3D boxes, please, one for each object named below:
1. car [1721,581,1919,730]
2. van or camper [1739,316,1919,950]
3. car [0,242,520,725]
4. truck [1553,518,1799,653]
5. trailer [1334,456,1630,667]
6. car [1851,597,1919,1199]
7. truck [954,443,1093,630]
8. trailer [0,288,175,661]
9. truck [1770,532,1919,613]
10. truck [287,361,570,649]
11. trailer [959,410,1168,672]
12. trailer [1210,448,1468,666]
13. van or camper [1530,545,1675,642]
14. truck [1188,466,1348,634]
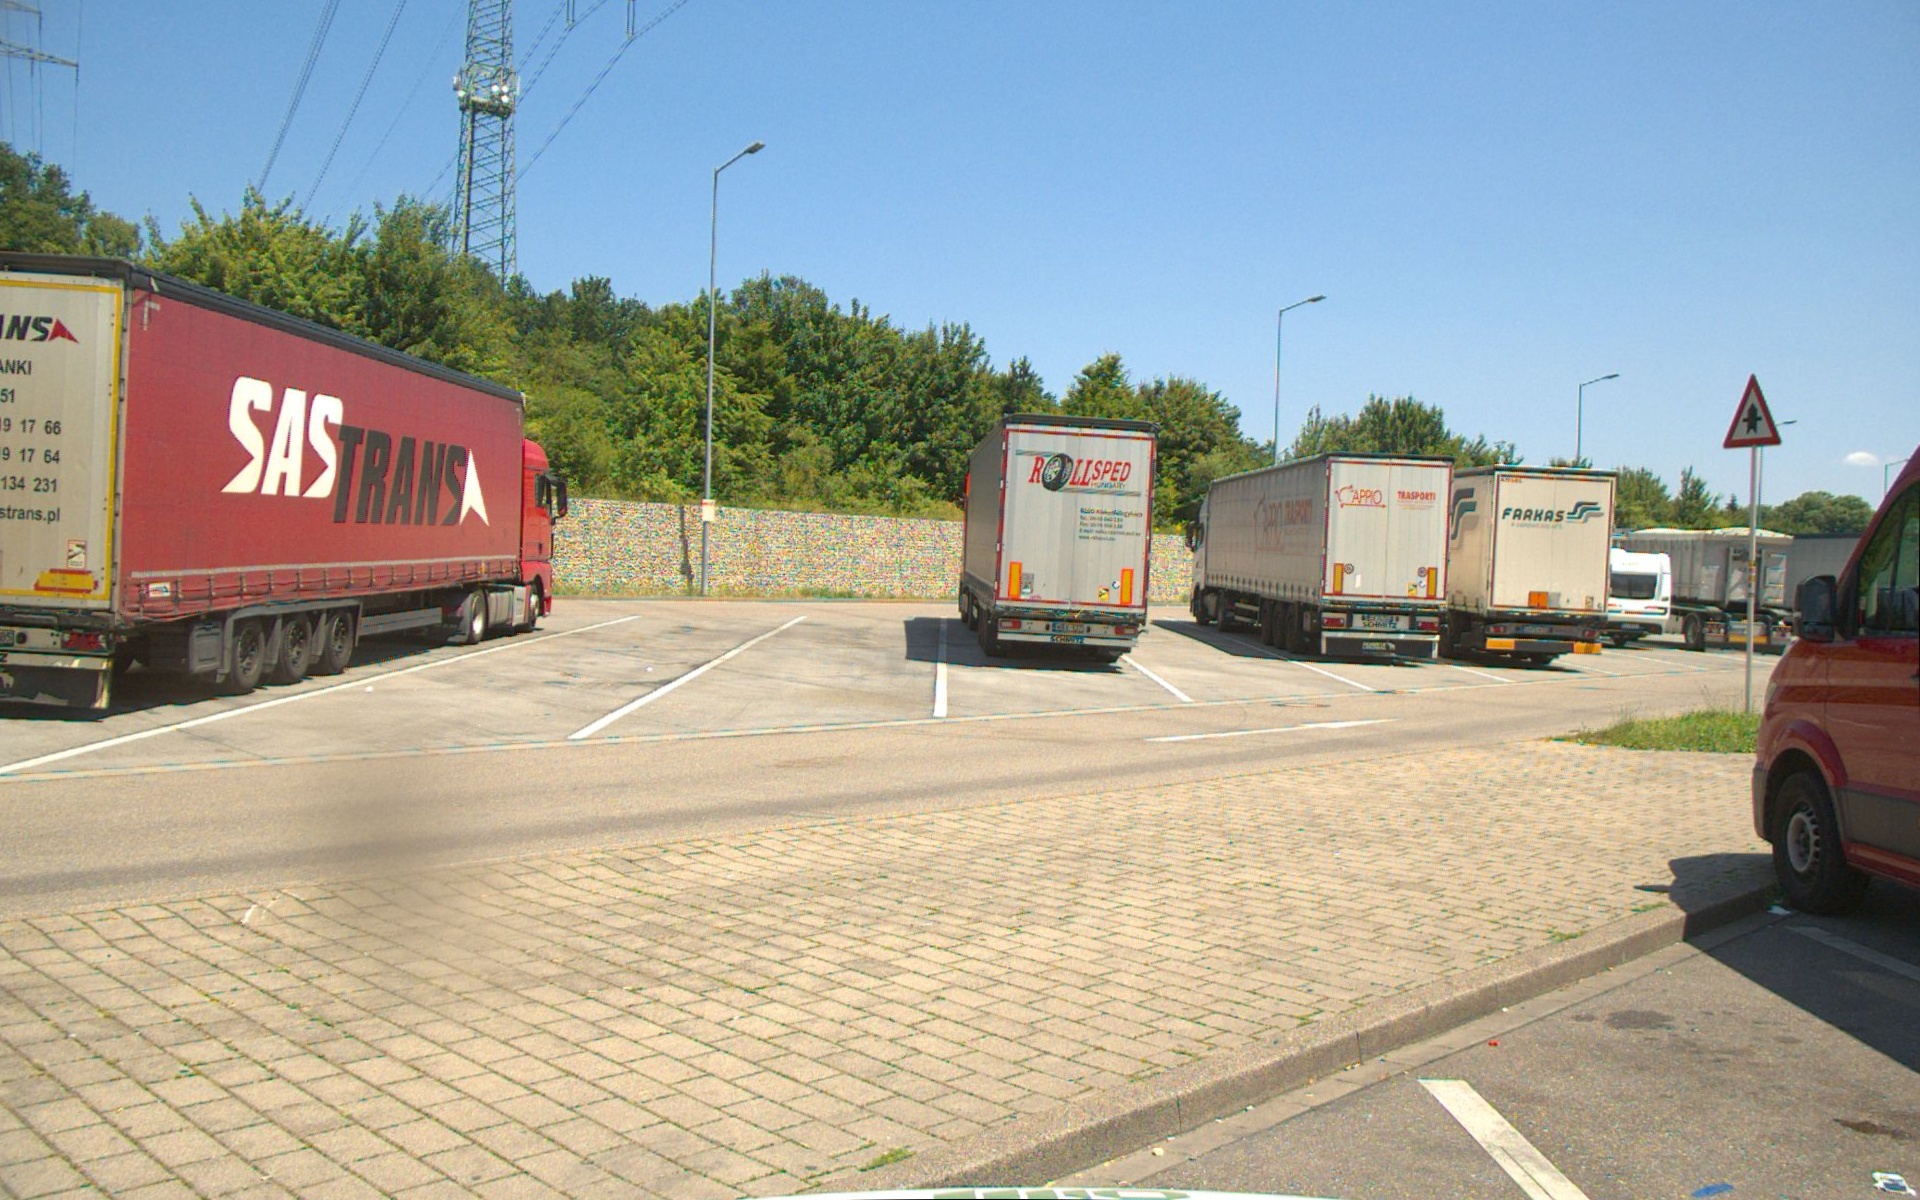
[{"bbox_3d":[11.117,0.593,20.065,1.805,1.589,3.948,1,1,-3],"label":"car"},{"bbox_3d":[4.991,0.176,5.555,1.954,2.700,6.482,1,1,3],"label":"van or camper"},{"bbox_3d":[-8.675,-1.282,20.956,2.641,4.184,12.935,2,2,0],"label":"car"},{"bbox_3d":[21.748,-0.649,51.240,2.437,3.630,11.423,2,2,-1],"label":"truck"},{"bbox_3d":[11.823,-1.024,39.218,2.808,4.107,12.438,2,2,-1],"label":"trailer"},{"bbox_3d":[2.541,0.797,1.108,1.584,1.509,3.762,1,1,-6],"label":"car"},{"bbox_3d":[1.424,-1.568,40.746,2.809,4.107,7.026,2,2,-2],"label":"truck"},{"bbox_3d":[-12.546,-1.407,17.157,2.756,4.341,12.940,2,2,-1],"label":"trailer"},{"bbox_3d":[34.701,-1.067,63.633,2.082,2.869,9.777,1,1,-1],"label":"truck"},{"bbox_3d":[-8.697,-1.531,27.873,2.641,4.184,6.239,2,2,0],"label":"truck"},{"bbox_3d":[1.654,-1.241,33.665,2.809,4.107,14.238,2,2,-2],"label":"trailer"},{"bbox_3d":[8.246,-1.090,38.101,2.808,4.107,12.438,2,2,-1],"label":"trailer"},{"bbox_3d":[18.267,-0.222,47.344,2.061,2.606,5.372,1,1,0],"label":"van or camper"},{"bbox_3d":[8.167,-1.386,44.731,2.808,4.107,6.956,2,2,-1],"label":"truck"}]
